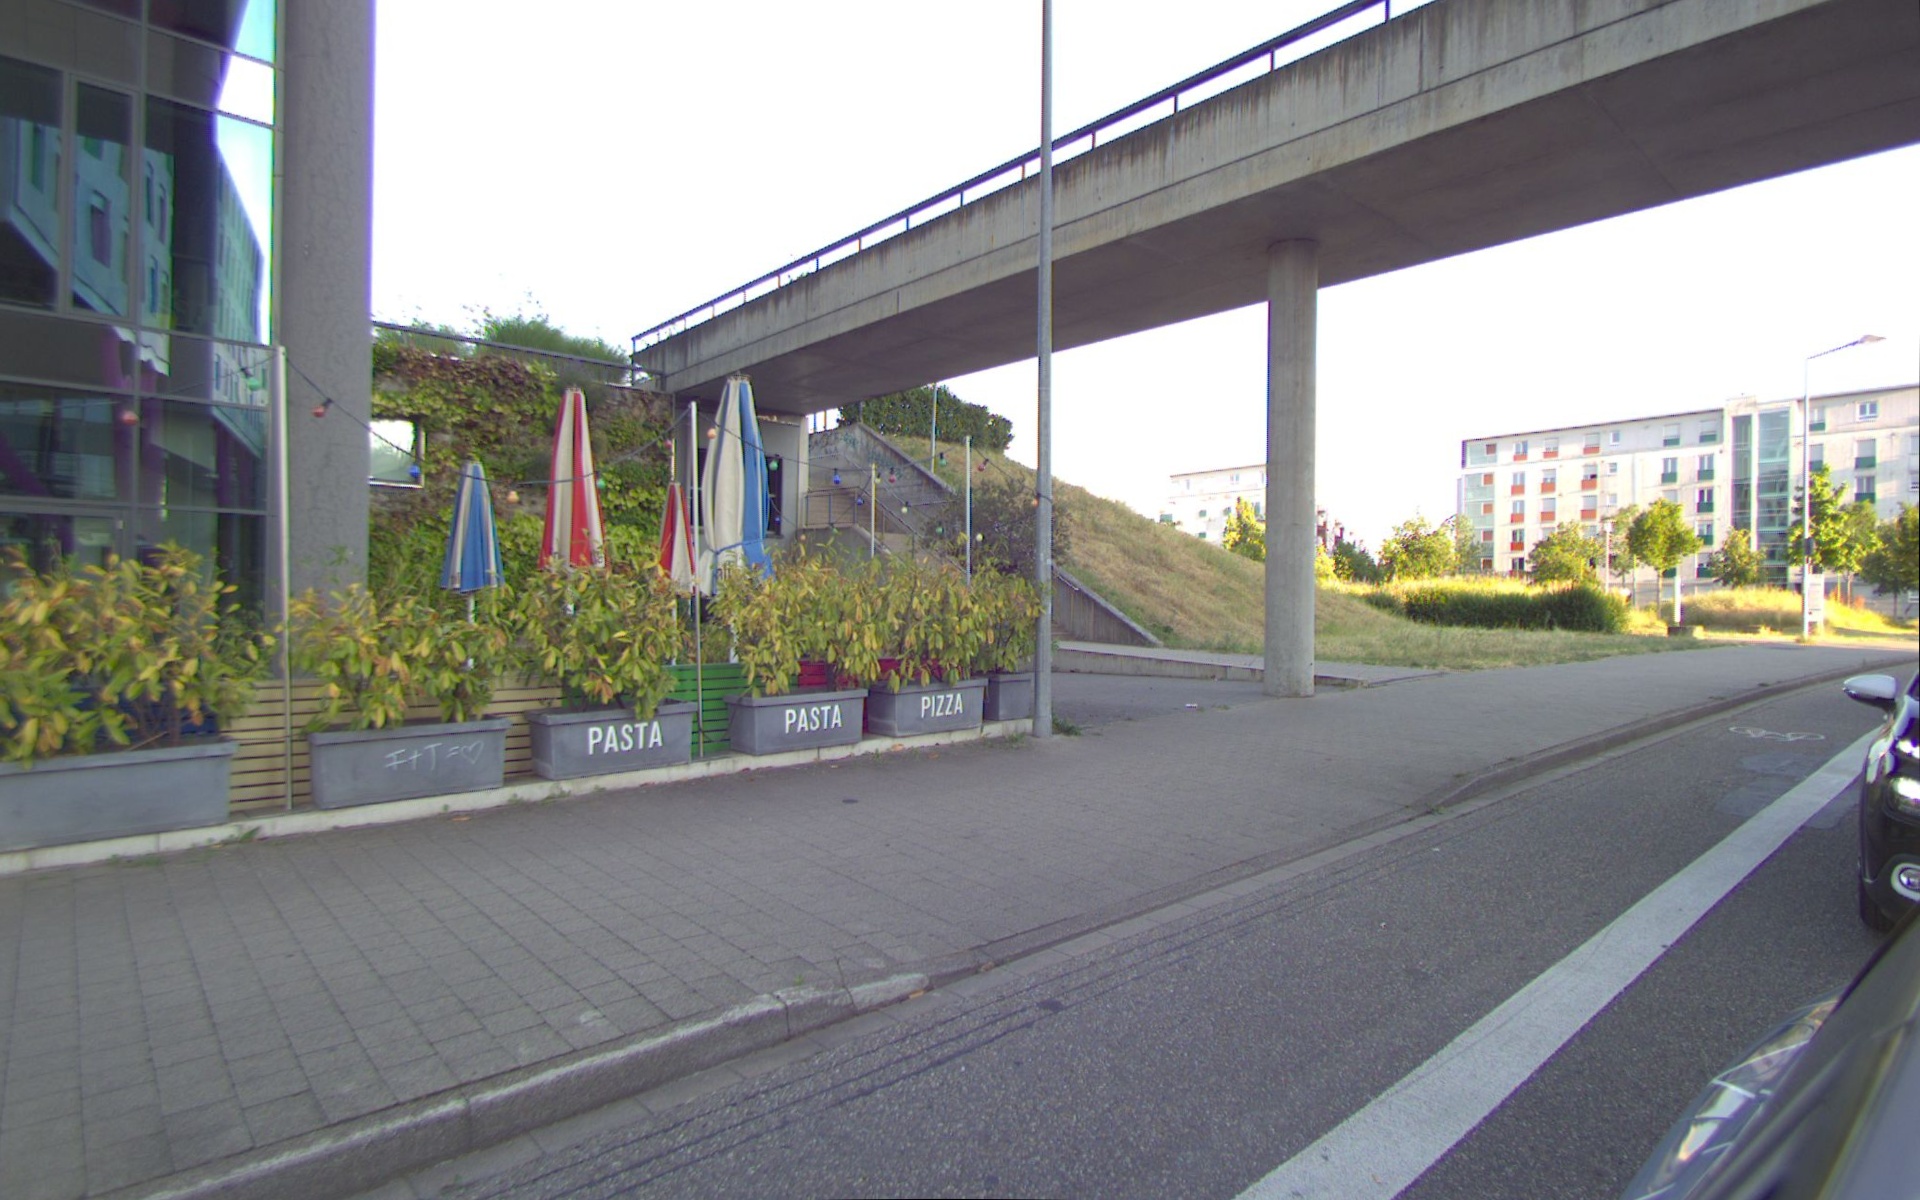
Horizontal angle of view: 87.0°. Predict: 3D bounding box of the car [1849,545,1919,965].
[{"bbox_3d":[5.509,0.592,4.669,4.003,1.571,1.757,0,0,-43],"label":"car"}]
